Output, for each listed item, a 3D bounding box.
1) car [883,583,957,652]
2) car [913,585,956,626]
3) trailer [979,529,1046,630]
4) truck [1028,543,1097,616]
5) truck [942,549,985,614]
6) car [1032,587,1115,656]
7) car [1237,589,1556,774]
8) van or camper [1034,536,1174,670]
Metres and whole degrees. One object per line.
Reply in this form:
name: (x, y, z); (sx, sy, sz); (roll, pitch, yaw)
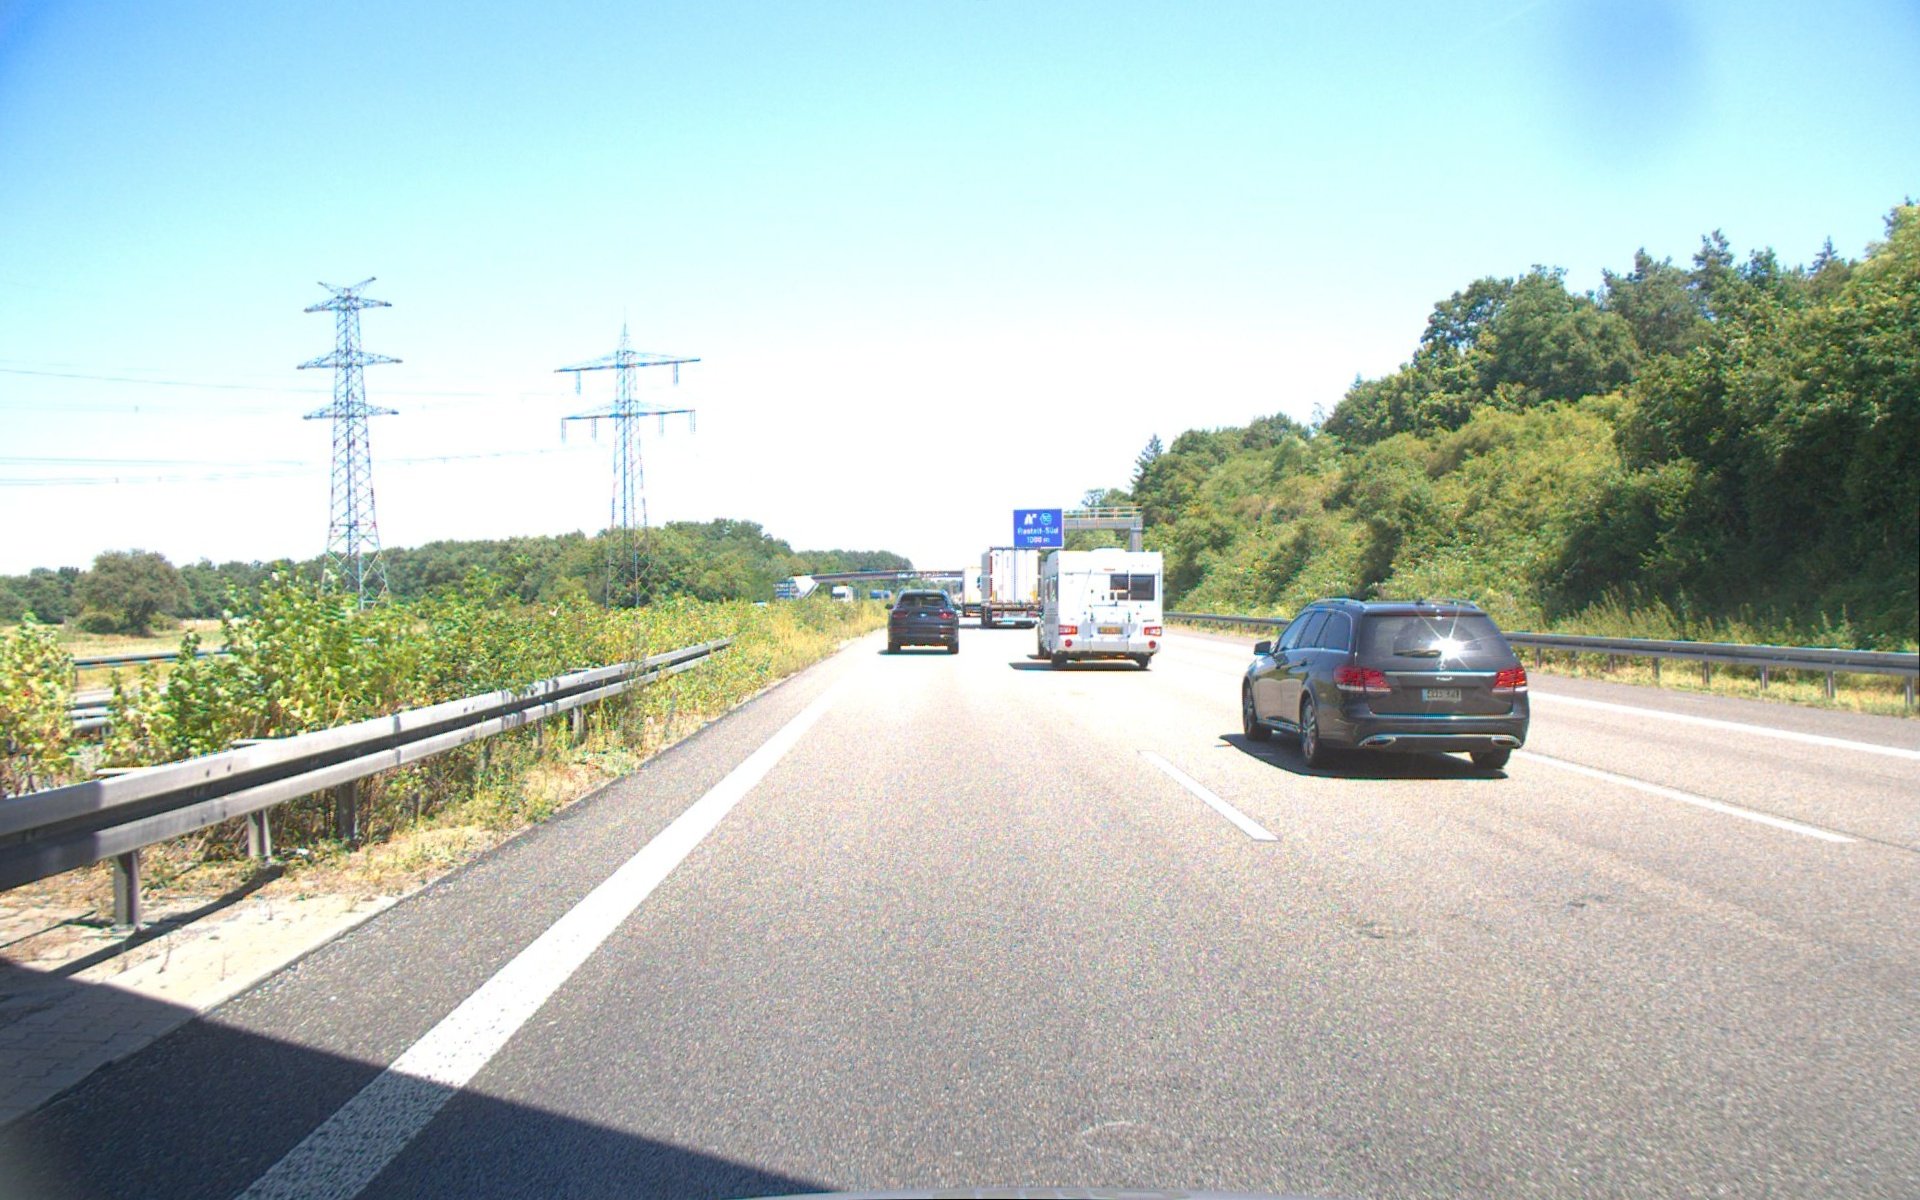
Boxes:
car: (-1.119, 0.461, 45.980); (1.953, 1.803, 3.999); (-1, 0, -2)
car: (-1.237, 0.241, 78.080); (1.922, 1.846, 4.447); (-1, 0, -2)
trailer: (2.669, -1.009, 88.049); (3.024, 4.970, 12.256); (0, 0, -1)
truck: (6.358, -1.213, 104.495); (3.498, 4.319, 11.650); (1, 0, -1)
truck: (0.223, -1.524, 139.328); (3.440, 5.257, 10.257); (0, 0, -1)
car: (2.898, 0.525, 42.955); (1.840, 1.640, 4.702); (-1, 0, 1)
car: (4.014, 0.661, 16.057); (1.804, 1.532, 4.737); (0, 0, -1)
van or camper: (3.123, 0.037, 37.441); (2.390, 2.721, 6.347); (-1, 0, -2)
